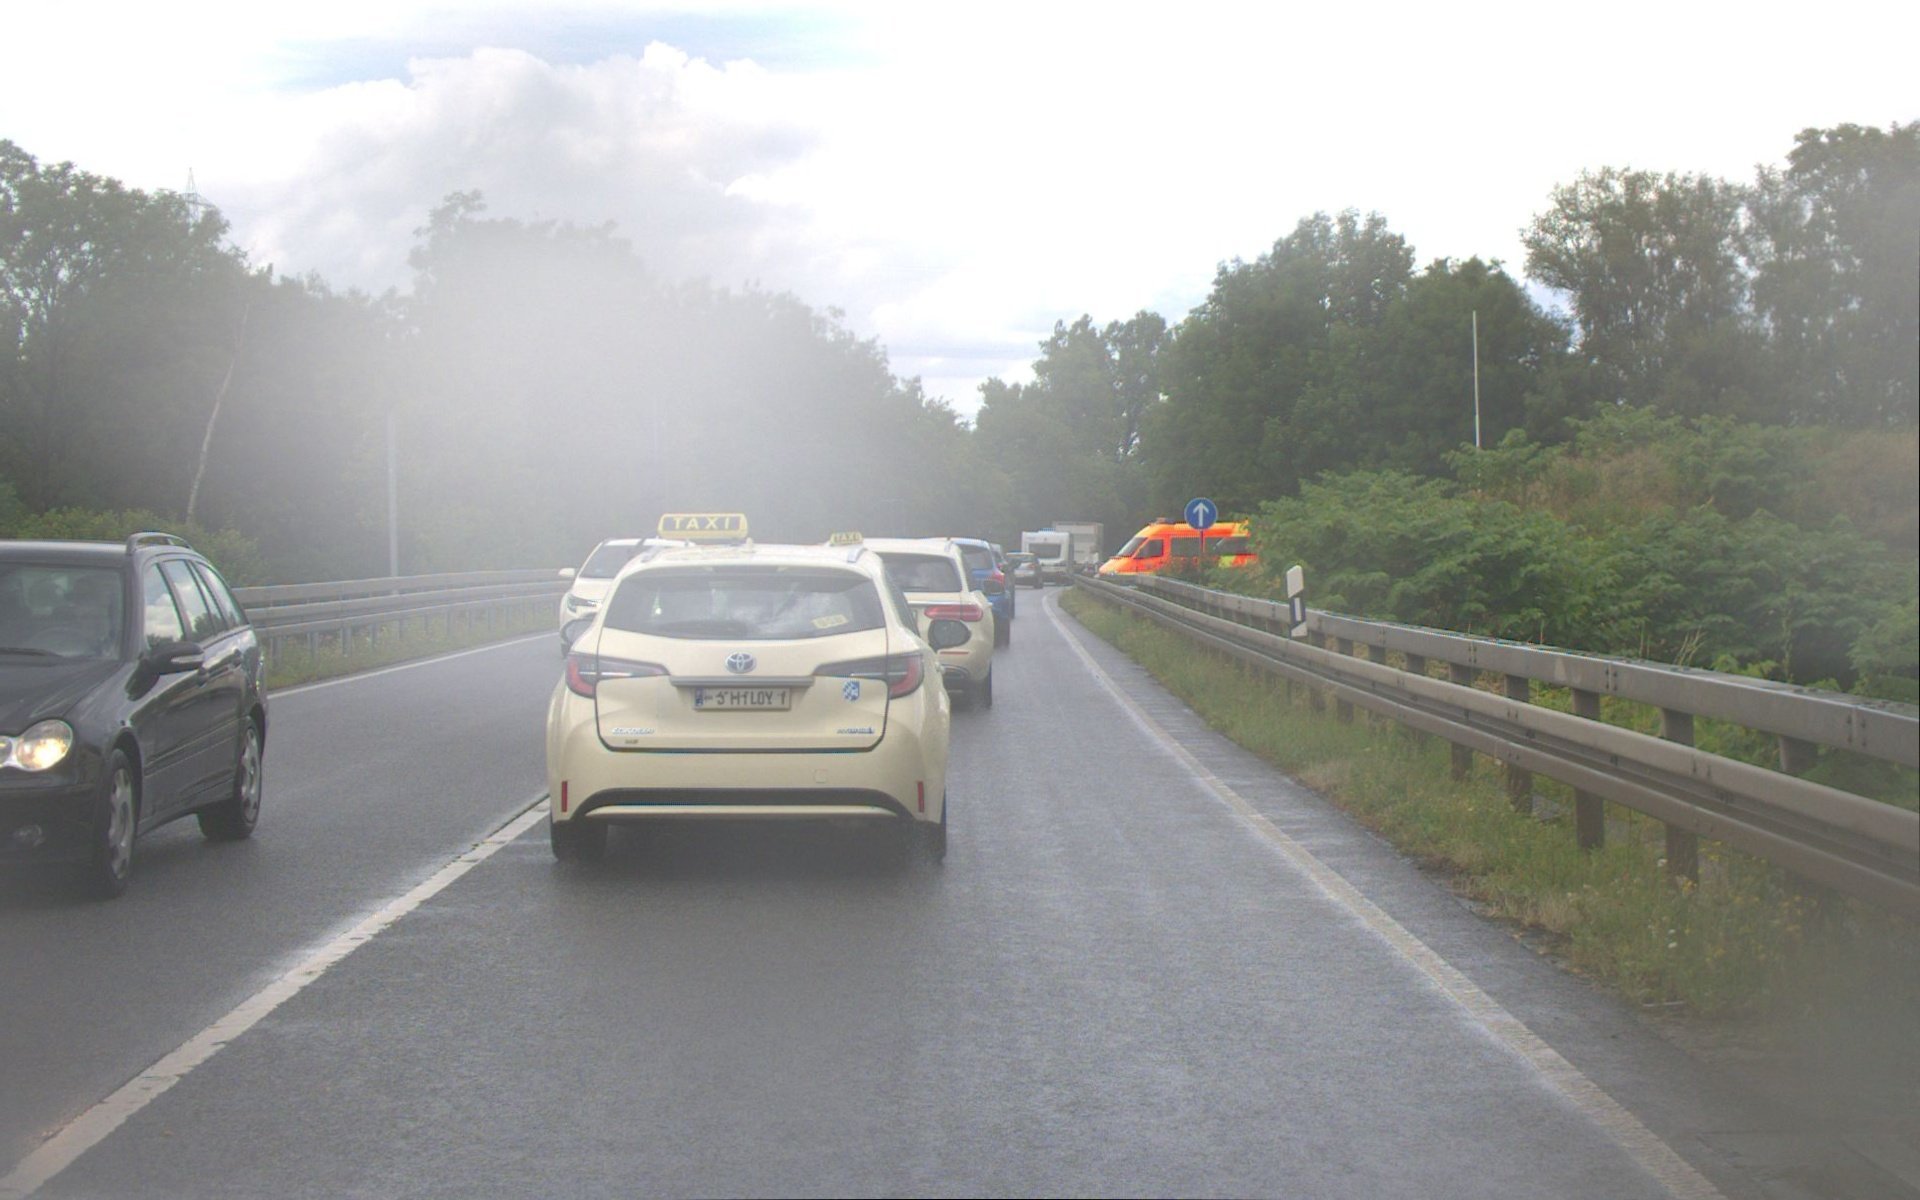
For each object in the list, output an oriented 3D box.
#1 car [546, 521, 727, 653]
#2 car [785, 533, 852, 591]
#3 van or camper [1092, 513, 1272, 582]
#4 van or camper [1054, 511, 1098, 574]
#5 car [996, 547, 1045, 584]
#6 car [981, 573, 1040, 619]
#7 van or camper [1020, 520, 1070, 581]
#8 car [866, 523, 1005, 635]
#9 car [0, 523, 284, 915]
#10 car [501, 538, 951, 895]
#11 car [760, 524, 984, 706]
[{"bbox_3d":[-3.959,-0.206,42.673,1.810,1.504,4.611,1,2,0],"label":"car"},{"bbox_3d":[-4.028,-1.102,98.579,1.779,1.556,4.302,1,2,-1],"label":"car"},{"bbox_3d":[7.486,-1.777,116.209,5.676,2.234,2.021,0,1,-14],"label":"van or camper"},{"bbox_3d":[6.608,-3.319,196.531,2.333,3.550,6.307,1,1,1],"label":"van or camper"},{"bbox_3d":[2.529,-1.444,143.597,1.854,1.438,4.171,1,2,3],"label":"car"},{"bbox_3d":[1.750,-0.155,117.989,1.854,1.438,4.171,1,2,3],"label":"car"},{"bbox_3d":[4.098,-2.441,166.438,2.333,2.854,6.307,1,2,1],"label":"van or camper"},{"bbox_3d":[-0.353,-0.329,48.472,1.854,1.438,4.171,1,2,-1],"label":"car"},{"bbox_3d":[-4.208,0.398,15.044,1.696,1.427,4.324,1,2,-1],"label":"car"},{"bbox_3d":[-0.996,0.450,16.422,1.854,1.389,4.171,1,2,-1],"label":"car"},{"bbox_3d":[-0.754,0.081,30.802,1.854,1.438,4.171,1,2,-1],"label":"car"}]
